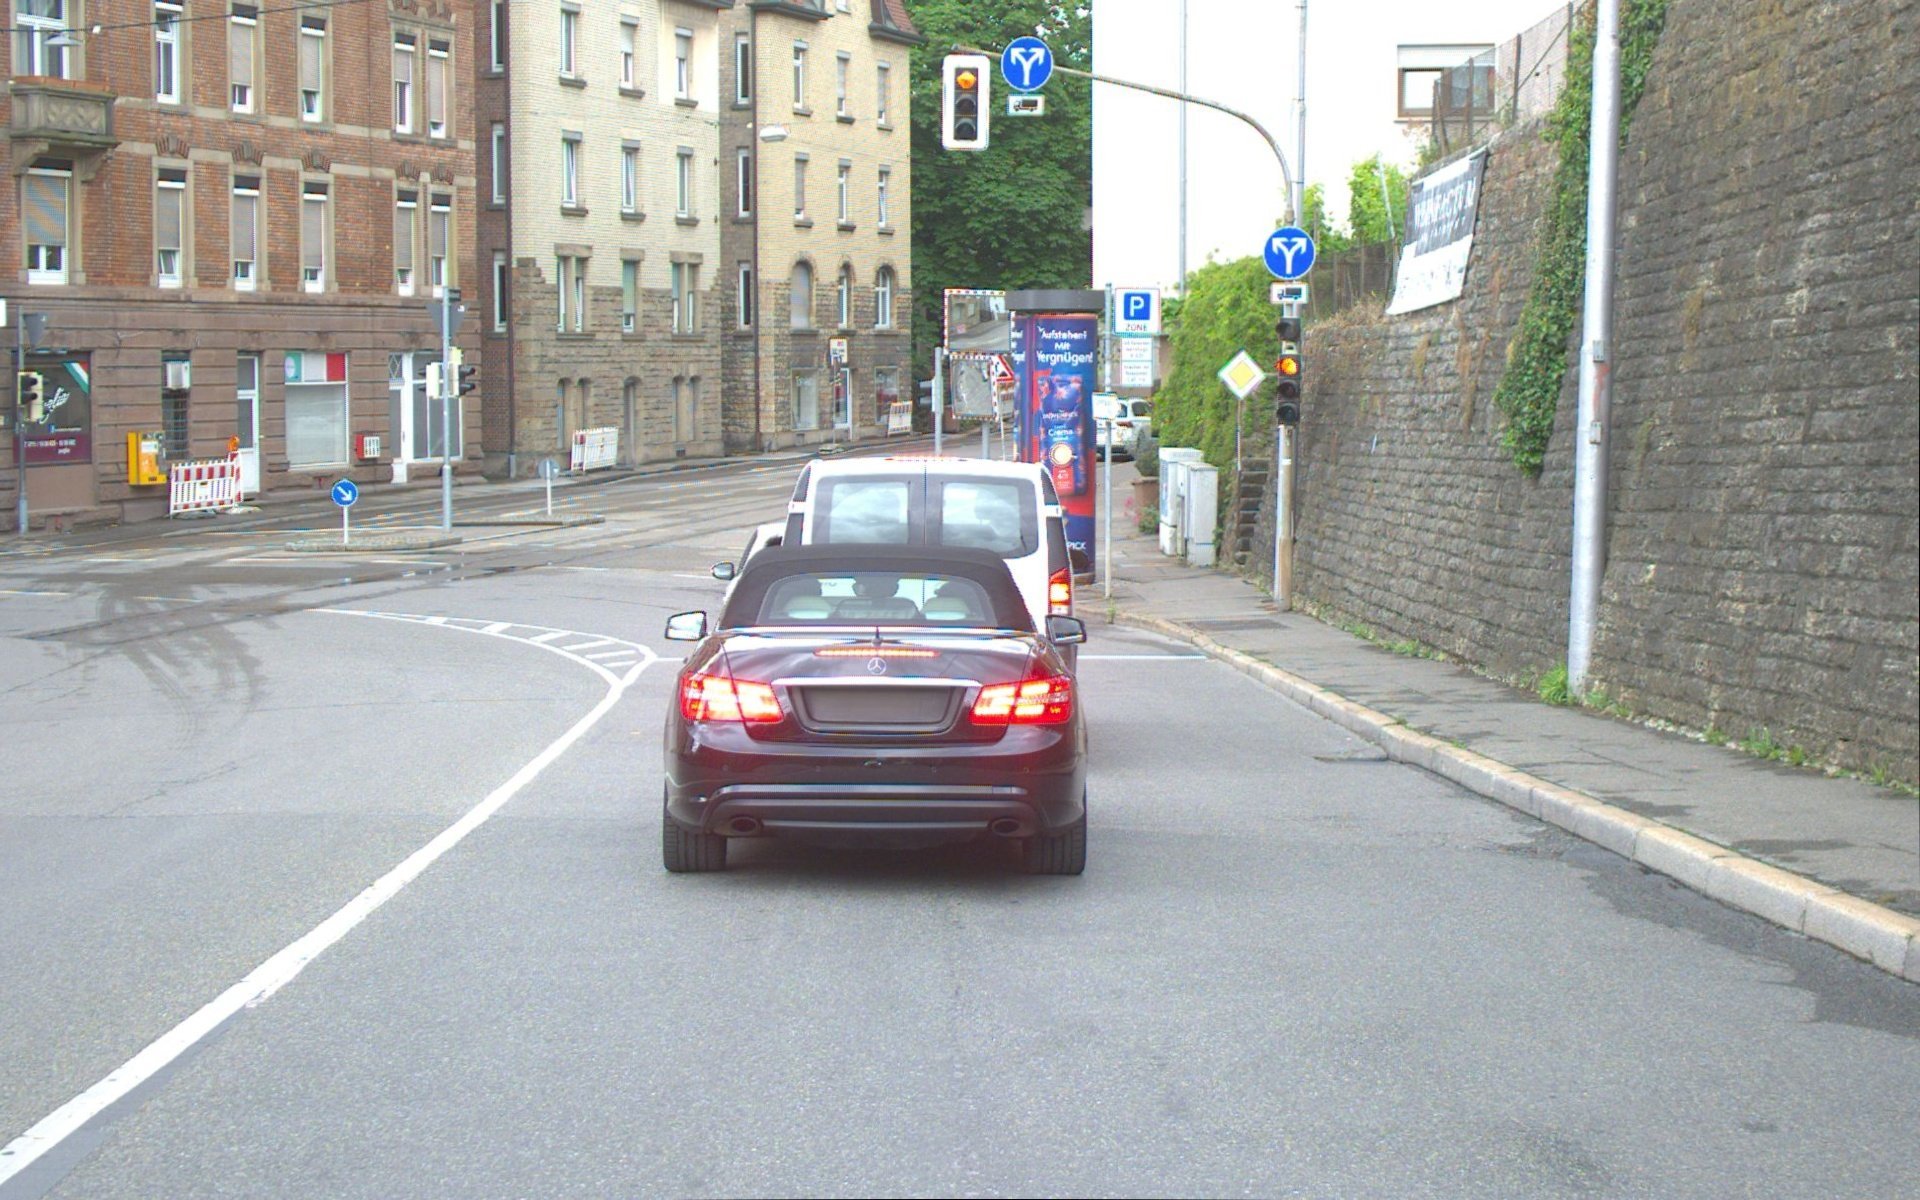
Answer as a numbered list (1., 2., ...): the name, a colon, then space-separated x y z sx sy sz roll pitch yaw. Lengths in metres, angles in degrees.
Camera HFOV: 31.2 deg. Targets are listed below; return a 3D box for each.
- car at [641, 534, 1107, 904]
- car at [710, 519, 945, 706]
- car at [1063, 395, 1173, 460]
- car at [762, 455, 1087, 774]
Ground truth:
1. car: -0.411 0.432 15.517 1.816 1.425 4.001 1 1 -2
2. car: -1.117 0.052 29.128 1.841 1.436 4.001 1 2 -2
3. car: 4.265 -4.648 92.384 1.843 1.696 3.997 1 3 20
4. car: -0.283 0.042 22.450 1.909 1.877 4.001 1 1 -2
